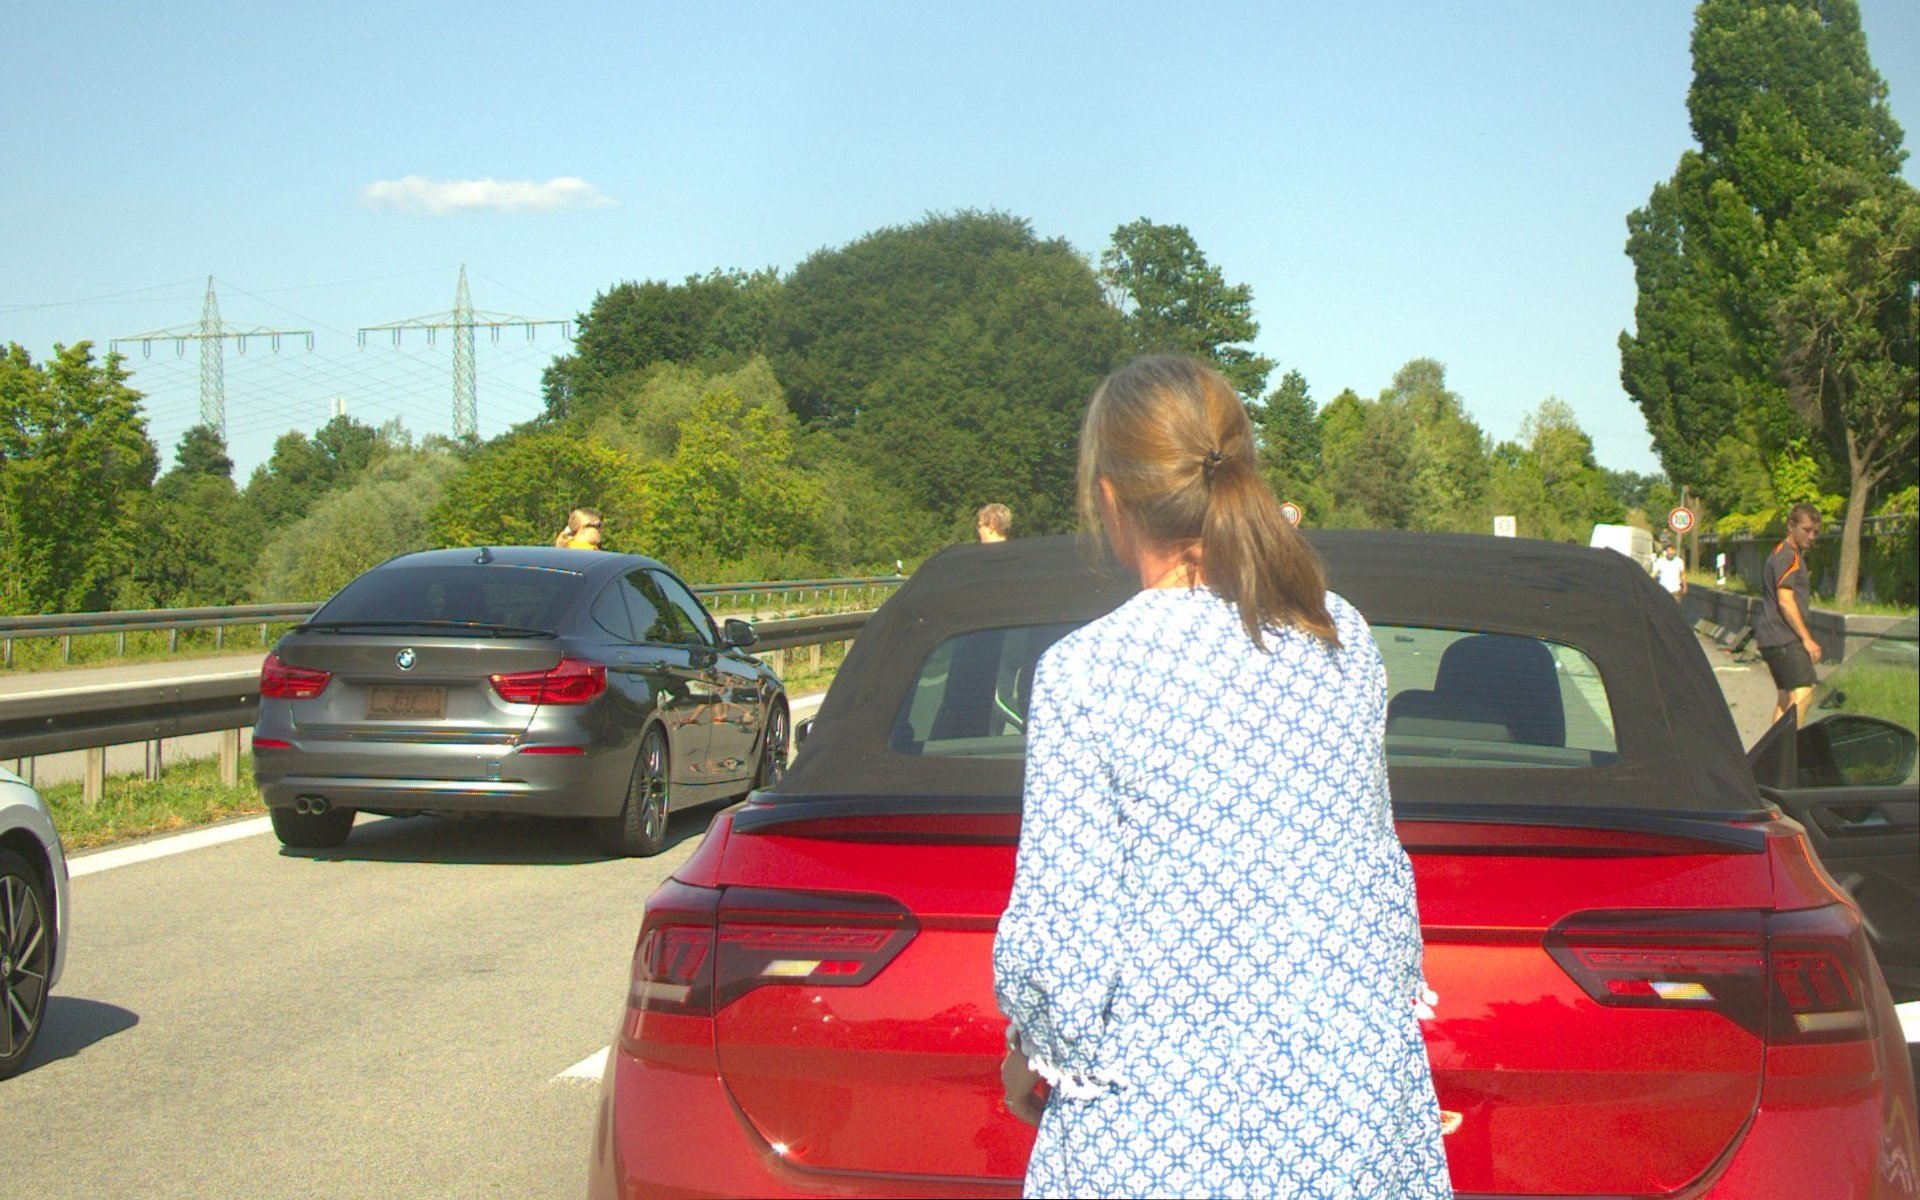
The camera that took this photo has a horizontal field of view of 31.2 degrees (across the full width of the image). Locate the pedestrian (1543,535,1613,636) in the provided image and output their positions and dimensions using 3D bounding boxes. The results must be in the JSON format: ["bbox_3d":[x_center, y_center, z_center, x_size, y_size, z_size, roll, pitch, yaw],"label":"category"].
[{"bbox_3d":[10.443,-0.249,58.080,1.056,1.683,1.016,1,1,15],"label":"pedestrian"}]

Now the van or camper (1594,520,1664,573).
[{"bbox_3d":[30.216,-2.395,155.143,1.996,2.308,4.464,1,1,26],"label":"van or camper"}]

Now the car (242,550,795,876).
[{"bbox_3d":[-2.097,0.472,17.586,1.695,1.421,4.332,1,1,8],"label":"car"}]

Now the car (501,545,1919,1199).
[{"bbox_3d":[0.603,0.658,6.092,1.733,1.482,4.209,1,1,8],"label":"car"}]

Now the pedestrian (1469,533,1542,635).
[{"bbox_3d":[9.209,-0.270,58.005,1.114,1.683,0.973,1,1,13],"label":"pedestrian"}]

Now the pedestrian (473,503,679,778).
[{"bbox_3d":[-2.513,0.254,22.642,1.041,1.757,1.118,-1,1,11],"label":"pedestrian"}]

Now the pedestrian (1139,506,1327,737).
[{"bbox_3d":[2.160,0.164,27.299,1.087,1.782,1.108,1,1,-21],"label":"pedestrian"}]

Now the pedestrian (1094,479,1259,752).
[{"bbox_3d":[1.544,0.098,24.782,1.105,1.906,1.257,-1,1,1],"label":"pedestrian"}]

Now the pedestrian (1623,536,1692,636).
[{"bbox_3d":[12.056,-0.247,59.402,0.997,1.683,1.009,1,1,20],"label":"pedestrian"}]

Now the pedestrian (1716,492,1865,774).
[{"bbox_3d":[5.318,0.200,21.988,0.812,1.753,0.827,1,1,20],"label":"pedestrian"}]

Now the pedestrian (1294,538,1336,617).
[{"bbox_3d":[7.668,-0.482,74.250,0.792,1.683,0.792,1,0,13],"label":"pedestrian"}]

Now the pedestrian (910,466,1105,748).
[{"bbox_3d":[0.338,0.038,23.539,1.066,1.876,1.092,0,1,17],"label":"pedestrian"}]

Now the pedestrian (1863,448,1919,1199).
[{"bbox_3d":[2.078,0.610,5.159,1.127,1.689,0.891,0,1,38],"label":"pedestrian"}]

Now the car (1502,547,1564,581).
[{"bbox_3d":[26.218,-1.661,157.301,1.735,1.482,4.205,1,1,25],"label":"car"}]

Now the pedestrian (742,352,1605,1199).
[{"bbox_3d":[0.261,0.597,3.737,0.839,1.677,0.743,0,1,9],"label":"pedestrian"}]

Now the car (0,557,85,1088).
[{"bbox_3d":[-3.656,0.621,7.917,1.695,1.436,4.209,1,1,8],"label":"car"}]
